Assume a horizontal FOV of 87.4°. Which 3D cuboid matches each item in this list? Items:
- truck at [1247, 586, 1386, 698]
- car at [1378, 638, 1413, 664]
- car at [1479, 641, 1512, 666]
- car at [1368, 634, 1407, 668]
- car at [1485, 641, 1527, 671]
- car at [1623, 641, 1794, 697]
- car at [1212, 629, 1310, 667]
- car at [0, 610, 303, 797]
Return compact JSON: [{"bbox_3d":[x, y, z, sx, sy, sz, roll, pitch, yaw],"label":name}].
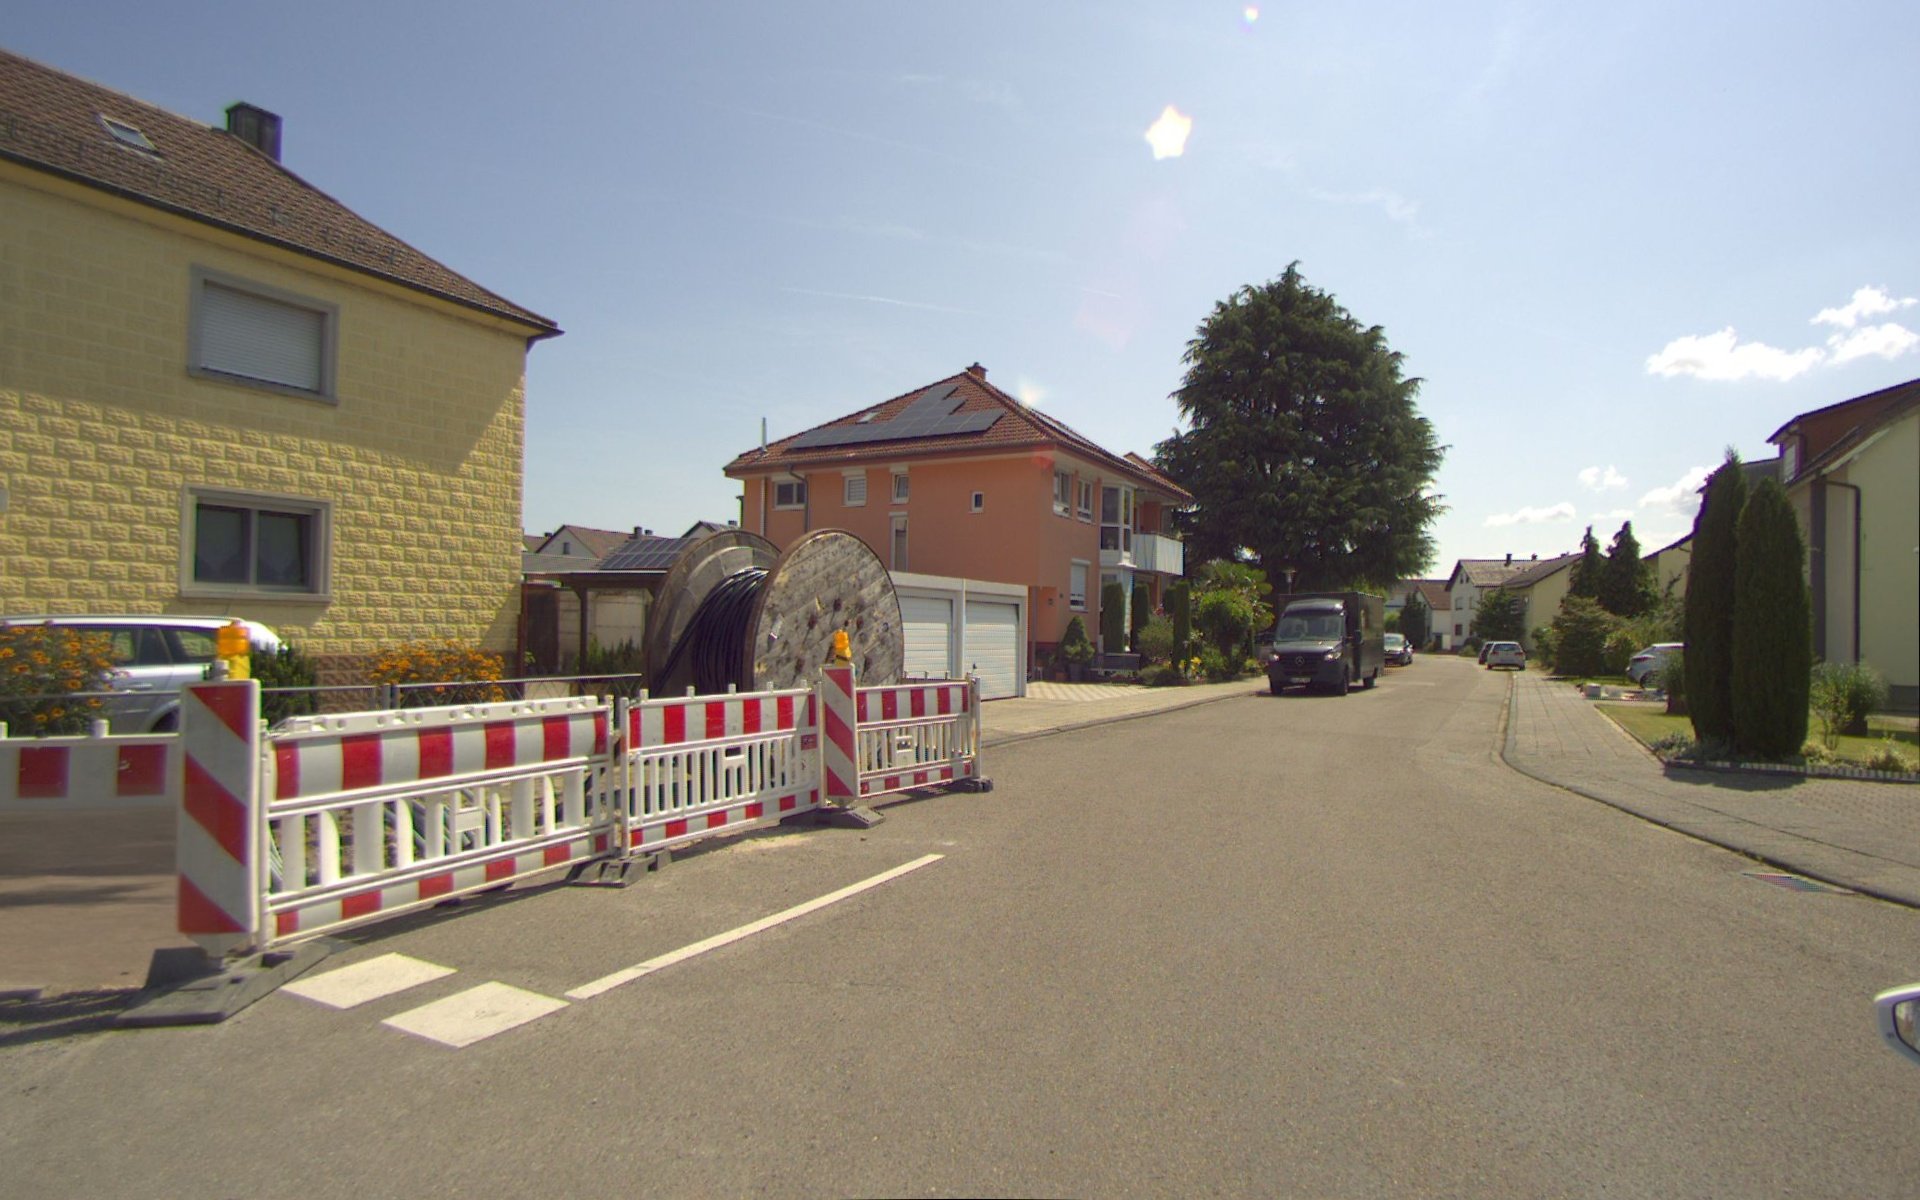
[{"bbox_3d":[10.519,1.241,29.176,2.399,2.824,7.284,-3,-3,30],"label":"truck"},{"bbox_3d":[26.737,3.109,61.661,1.780,1.514,3.996,0,-2,26],"label":"car"},{"bbox_3d":[34.930,3.472,65.559,1.780,1.514,3.996,0,-2,26],"label":"car"},{"bbox_3d":[24.040,2.830,56.368,1.780,1.786,4.202,0,-2,26],"label":"car"},{"bbox_3d":[29.306,2.971,54.001,1.780,1.514,3.996,0,-2,26],"label":"car"},{"bbox_3d":[22.050,1.996,29.790,3.857,1.530,1.770,-1,-2,30],"label":"car"},{"bbox_3d":[14.333,2.271,47.840,4.133,1.675,1.810,0,-2,32],"label":"car"},{"bbox_3d":[-8.500,0.836,8.630,1.766,1.505,4.451,0,-2,41],"label":"car"}]
